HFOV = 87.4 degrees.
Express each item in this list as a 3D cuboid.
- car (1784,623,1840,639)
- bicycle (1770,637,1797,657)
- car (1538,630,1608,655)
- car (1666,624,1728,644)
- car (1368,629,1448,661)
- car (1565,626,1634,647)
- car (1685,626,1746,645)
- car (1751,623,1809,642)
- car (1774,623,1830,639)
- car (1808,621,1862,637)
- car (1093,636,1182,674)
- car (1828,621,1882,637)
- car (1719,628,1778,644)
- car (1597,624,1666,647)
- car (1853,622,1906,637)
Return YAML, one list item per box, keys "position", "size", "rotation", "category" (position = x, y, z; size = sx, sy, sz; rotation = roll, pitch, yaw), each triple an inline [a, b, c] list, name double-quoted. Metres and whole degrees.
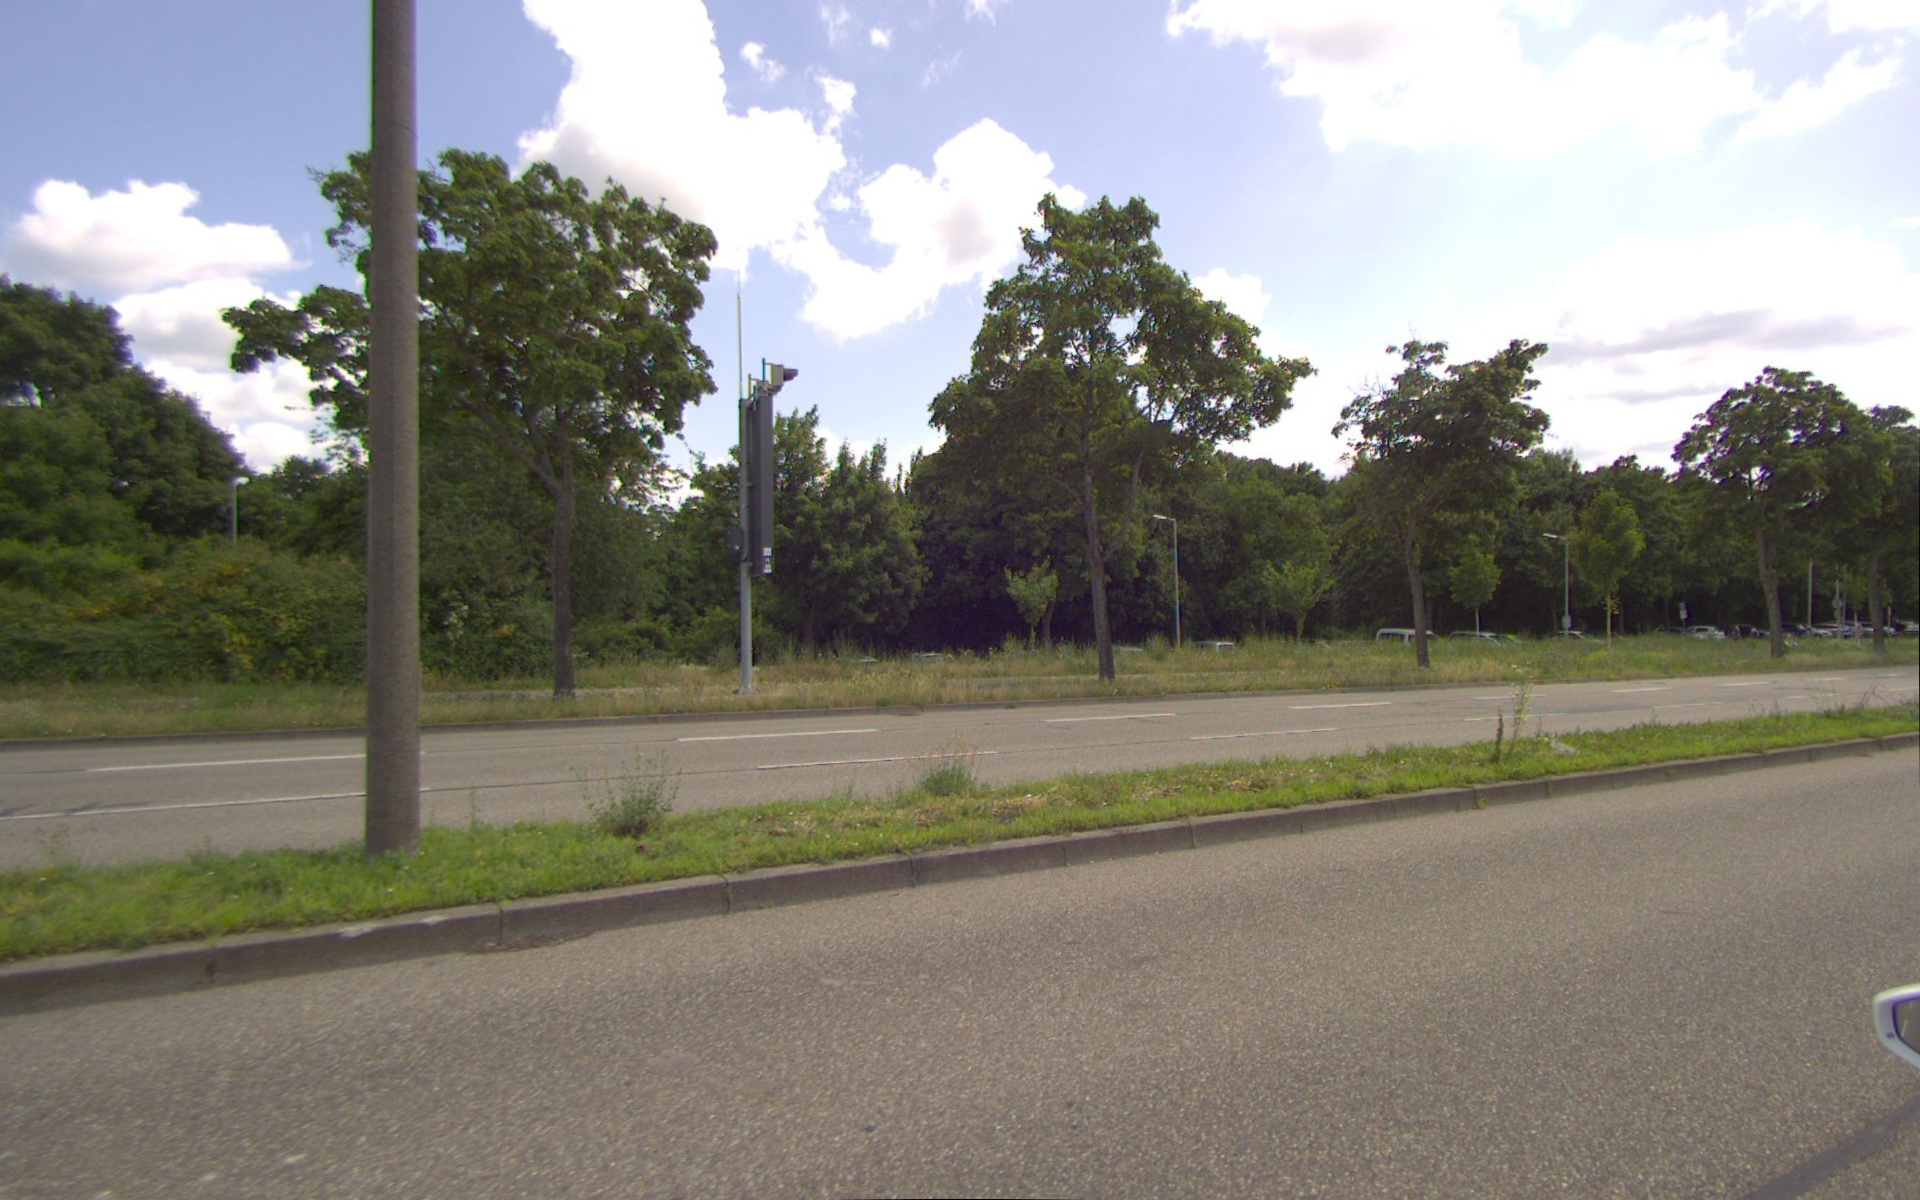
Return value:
- position: [82.931, 3.007, 97.827]
  size: [1.763, 1.406, 3.770]
  rotation: [0, 1, -28]
  category: "car"
- position: [44.019, 2.511, 53.701]
  size: [1.896, 0.991, 0.564]
  rotation: [1, -1, -33]
  category: "bicycle"
- position: [42.336, 2.893, 69.448]
  size: [1.764, 1.528, 3.767]
  rotation: [0, 1, -30]
  category: "car"
- position: [61.249, 2.829, 83.512]
  size: [1.765, 1.447, 3.764]
  rotation: [0, 1, -32]
  category: "car"
- position: [26.837, 2.661, 60.289]
  size: [1.979, 1.647, 3.963]
  rotation: [0, 1, -33]
  category: "car"
- position: [45.277, 2.574, 71.184]
  size: [1.764, 1.284, 3.767]
  rotation: [0, 1, -30]
  category: "car"
- position: [63.875, 2.994, 84.997]
  size: [1.765, 1.405, 3.764]
  rotation: [0, 1, -32]
  category: "car"
- position: [76.043, 3.023, 93.167]
  size: [1.763, 1.589, 3.770]
  rotation: [0, 1, -28]
  category: "car"
- position: [80.676, 2.960, 96.301]
  size: [1.763, 1.406, 3.770]
  rotation: [0, 1, -28]
  category: "car"
- position: [88.612, 2.925, 101.770]
  size: [1.763, 1.406, 3.770]
  rotation: [0, 1, -28]
  category: "car"
- position: [8.374, 2.564, 47.585]
  size: [1.979, 1.539, 3.963]
  rotation: [0, 1, -33]
  category: "car"
- position: [91.533, 2.965, 102.800]
  size: [1.763, 1.406, 3.770]
  rotation: [0, 1, -28]
  category: "car"
- position: [69.826, 3.199, 88.998]
  size: [1.765, 1.264, 3.764]
  rotation: [0, 1, -32]
  category: "car"
- position: [48.962, 2.548, 73.287]
  size: [1.764, 1.528, 3.767]
  rotation: [0, 1, -30]
  category: "car"
- position: [96.496, 3.079, 105.466]
  size: [1.763, 1.406, 3.770]
  rotation: [0, 1, -28]
  category: "car"
